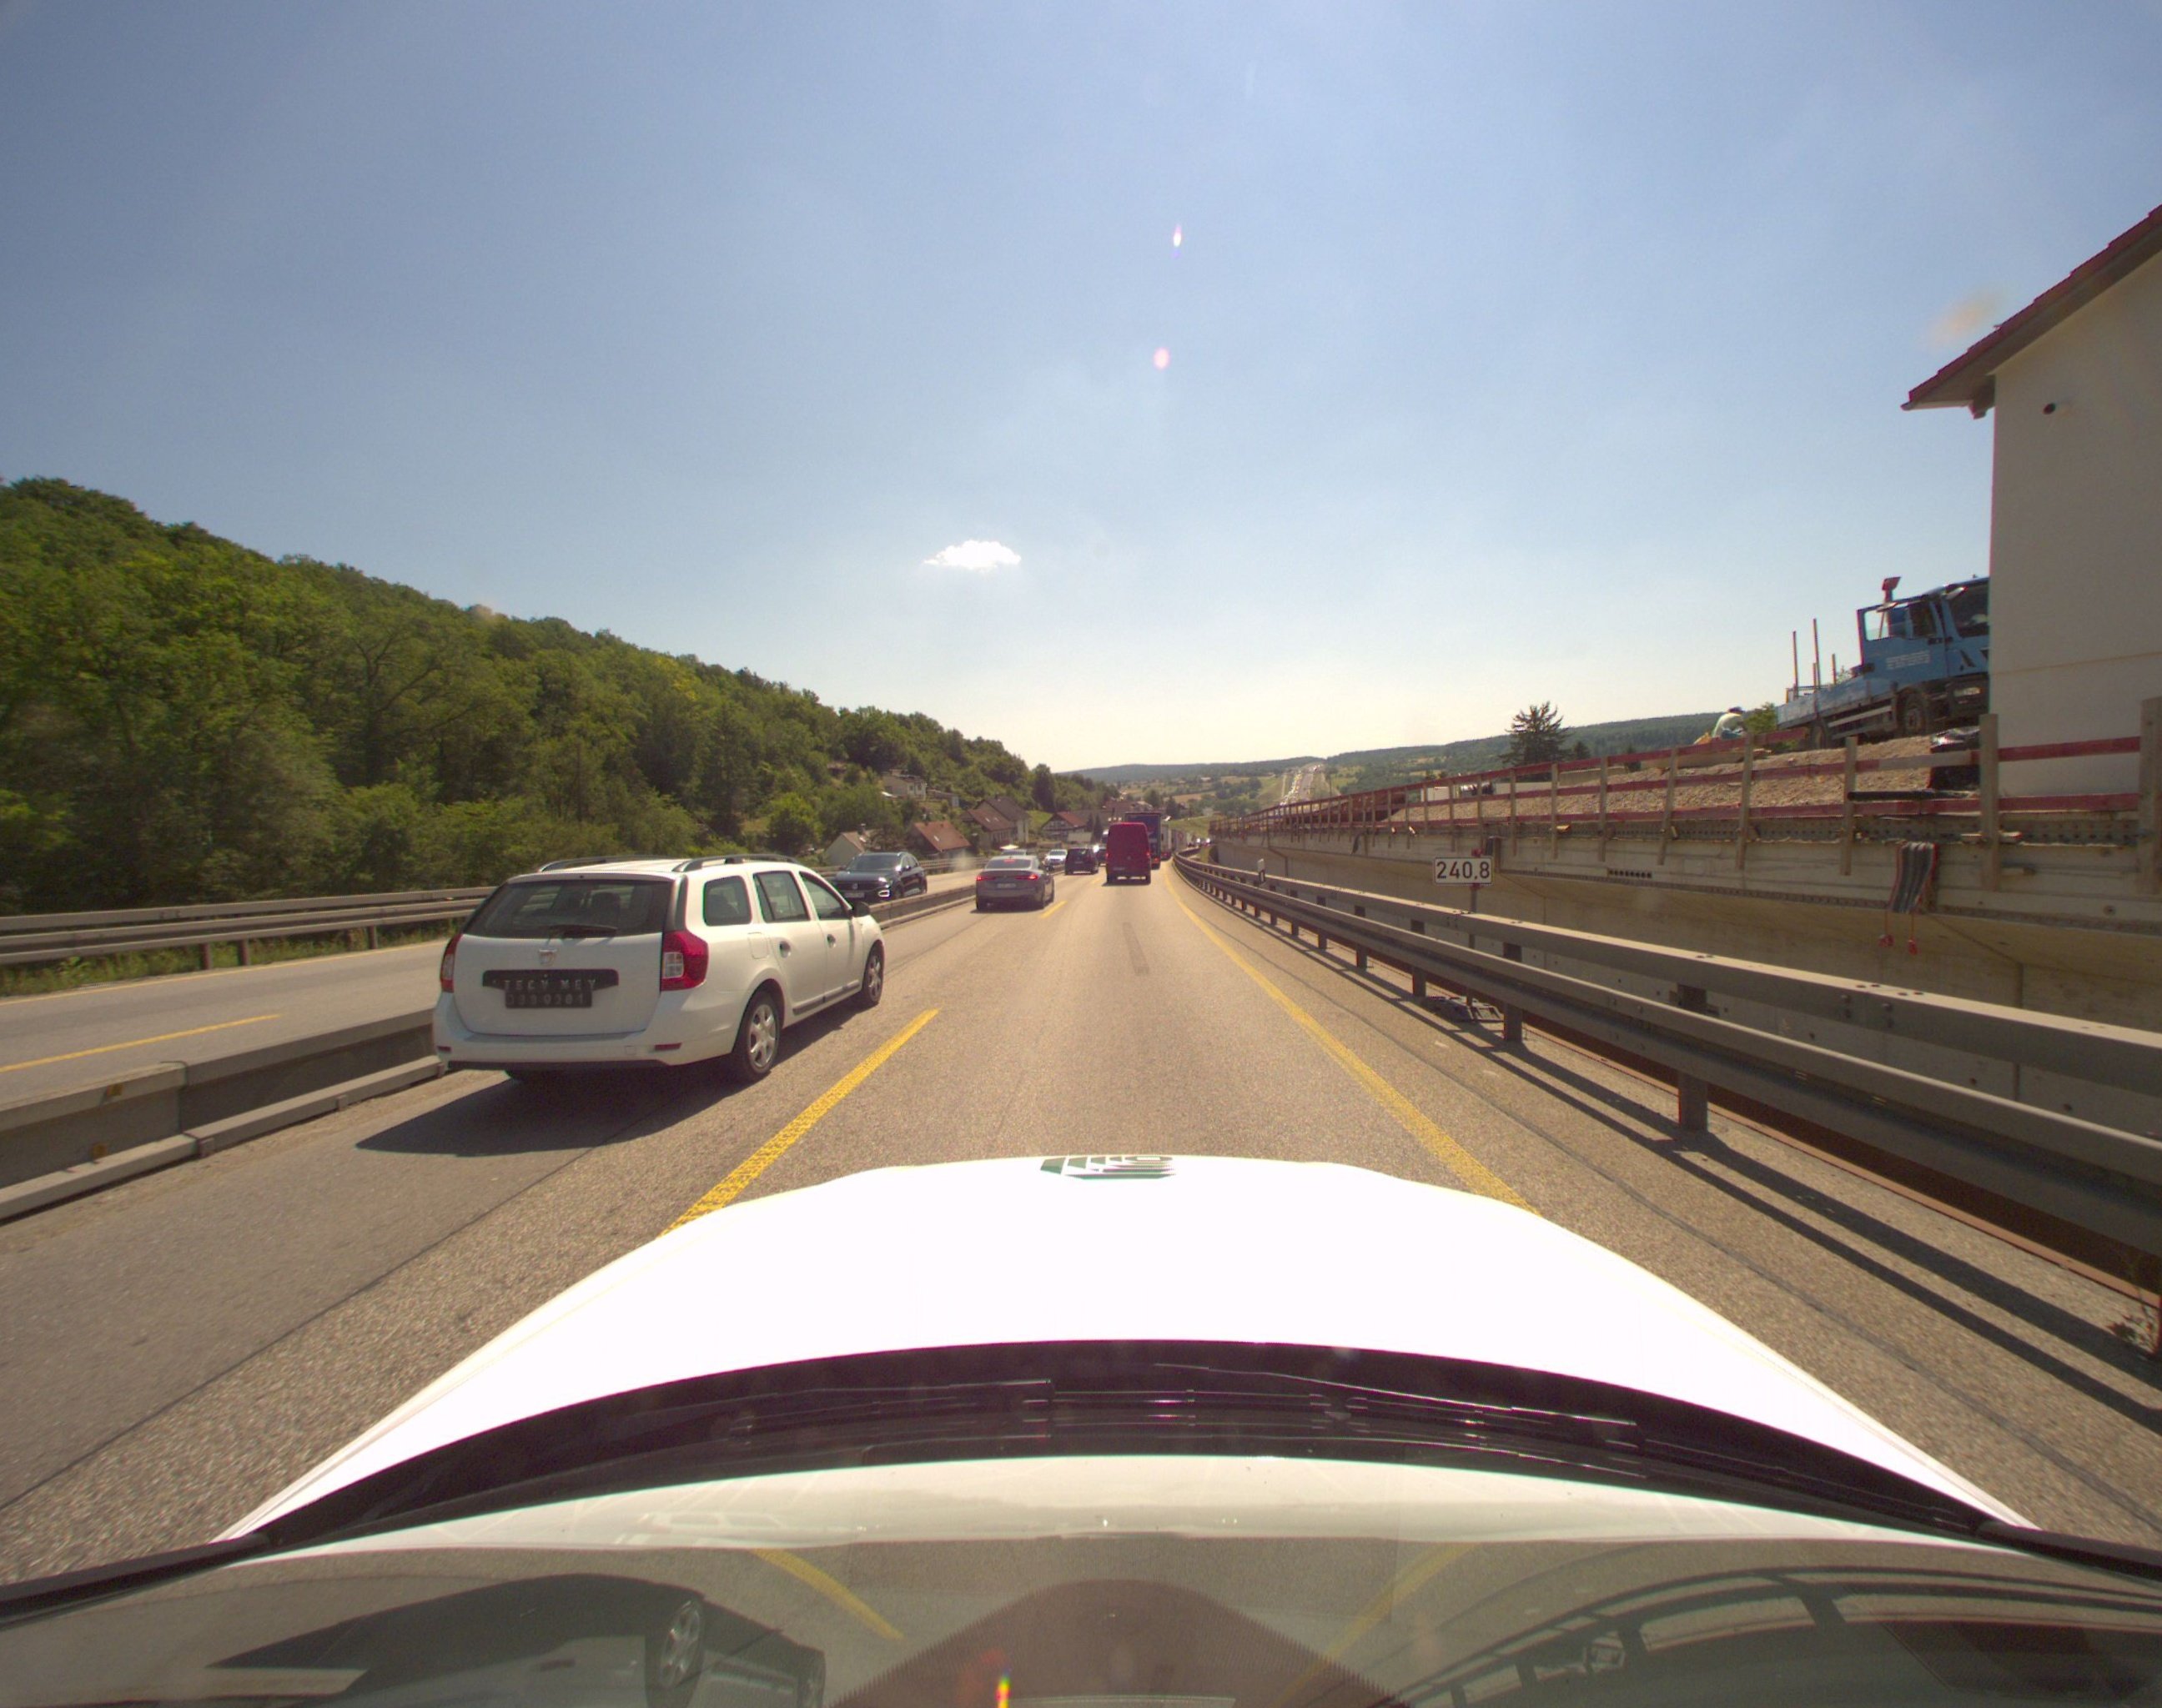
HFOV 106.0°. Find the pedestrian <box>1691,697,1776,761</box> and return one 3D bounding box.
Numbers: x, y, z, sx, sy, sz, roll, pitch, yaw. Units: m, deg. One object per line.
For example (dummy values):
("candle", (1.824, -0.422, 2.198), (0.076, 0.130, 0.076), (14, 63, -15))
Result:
("pedestrian", (13.549, -2.573, 16.937), (1.014, 1.151, 0.997), (0, -1, 9))

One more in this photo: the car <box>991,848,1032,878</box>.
("car", (-3.939, 0.488, 46.670), (1.731, 1.641, 4.005), (0, 0, 4))

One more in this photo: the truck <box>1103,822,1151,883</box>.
("truck", (2.121, -0.066, 36.636), (1.984, 2.578, 4.006), (0, -1, 6))

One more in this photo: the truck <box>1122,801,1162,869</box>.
("truck", (4.764, -1.336, 63.117), (2.773, 4.816, 9.697), (0, 0, 5))

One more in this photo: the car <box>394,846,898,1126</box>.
("car", (-2.909, 0.747, 6.667), (1.645, 1.483, 4.268), (-3, 0, 2))

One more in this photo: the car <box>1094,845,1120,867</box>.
("car", (2.212, 0.164, 68.376), (1.720, 1.838, 4.008), (0, 0, 7))

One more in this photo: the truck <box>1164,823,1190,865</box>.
("truck", (11.483, -1.127, 98.232), (2.773, 4.816, 9.697), (0, 0, 5))

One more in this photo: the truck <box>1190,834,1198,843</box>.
("truck", (19.735, -2.705, 142.417), (1.306, 1.542, 3.159), (0, 0, 9))

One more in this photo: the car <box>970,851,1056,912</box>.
("car", (-1.761, 0.688, 22.489), (1.787, 1.485, 4.053), (-1, 0, 3))

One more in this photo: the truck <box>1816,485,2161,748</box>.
("truck", (17.615, -4.260, 16.412), (2.686, 3.693, 5.746), (-1, 3, 26))

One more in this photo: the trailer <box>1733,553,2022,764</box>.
("trailer", (19.982, -4.503, 21.276), (2.686, 3.693, 9.051), (-1, 3, 26))

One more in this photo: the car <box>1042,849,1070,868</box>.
("car", (-2.020, 0.349, 67.084), (1.903, 1.486, 4.483), (0, 0, 4))

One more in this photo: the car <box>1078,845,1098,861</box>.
("car", (0.775, -0.080, 90.333), (1.903, 1.705, 4.742), (0, 0, 4))

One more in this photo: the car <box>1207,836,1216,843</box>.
("car", (35.794, -3.991, 223.070), (2.115, 2.014, 4.016), (0, 0, 15))

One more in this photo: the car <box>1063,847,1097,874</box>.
("car", (-0.020, 0.391, 49.252), (1.802, 1.608, 3.723), (0, 0, 4))

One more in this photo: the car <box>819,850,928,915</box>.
("car", (-5.441, 0.692, 21.889), (1.722, 1.551, 4.039), (0, 1, 3))

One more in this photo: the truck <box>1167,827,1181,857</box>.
("truck", (14.210, -1.759, 123.850), (1.982, 4.381, 4.009), (0, -1, 8))

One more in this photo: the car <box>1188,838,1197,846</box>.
("car", (28.604, -3.022, 208.449), (1.790, 2.013, 4.017), (0, 1, 16))

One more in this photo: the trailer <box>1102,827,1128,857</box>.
("trailer", (6.051, -1.961, 142.047), (3.046, 4.815, 14.037), (0, 0, 9))

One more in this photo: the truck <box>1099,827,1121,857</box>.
("truck", (4.764, -1.989, 134.074), (3.042, 4.821, 4.658), (0, -1, 10))
